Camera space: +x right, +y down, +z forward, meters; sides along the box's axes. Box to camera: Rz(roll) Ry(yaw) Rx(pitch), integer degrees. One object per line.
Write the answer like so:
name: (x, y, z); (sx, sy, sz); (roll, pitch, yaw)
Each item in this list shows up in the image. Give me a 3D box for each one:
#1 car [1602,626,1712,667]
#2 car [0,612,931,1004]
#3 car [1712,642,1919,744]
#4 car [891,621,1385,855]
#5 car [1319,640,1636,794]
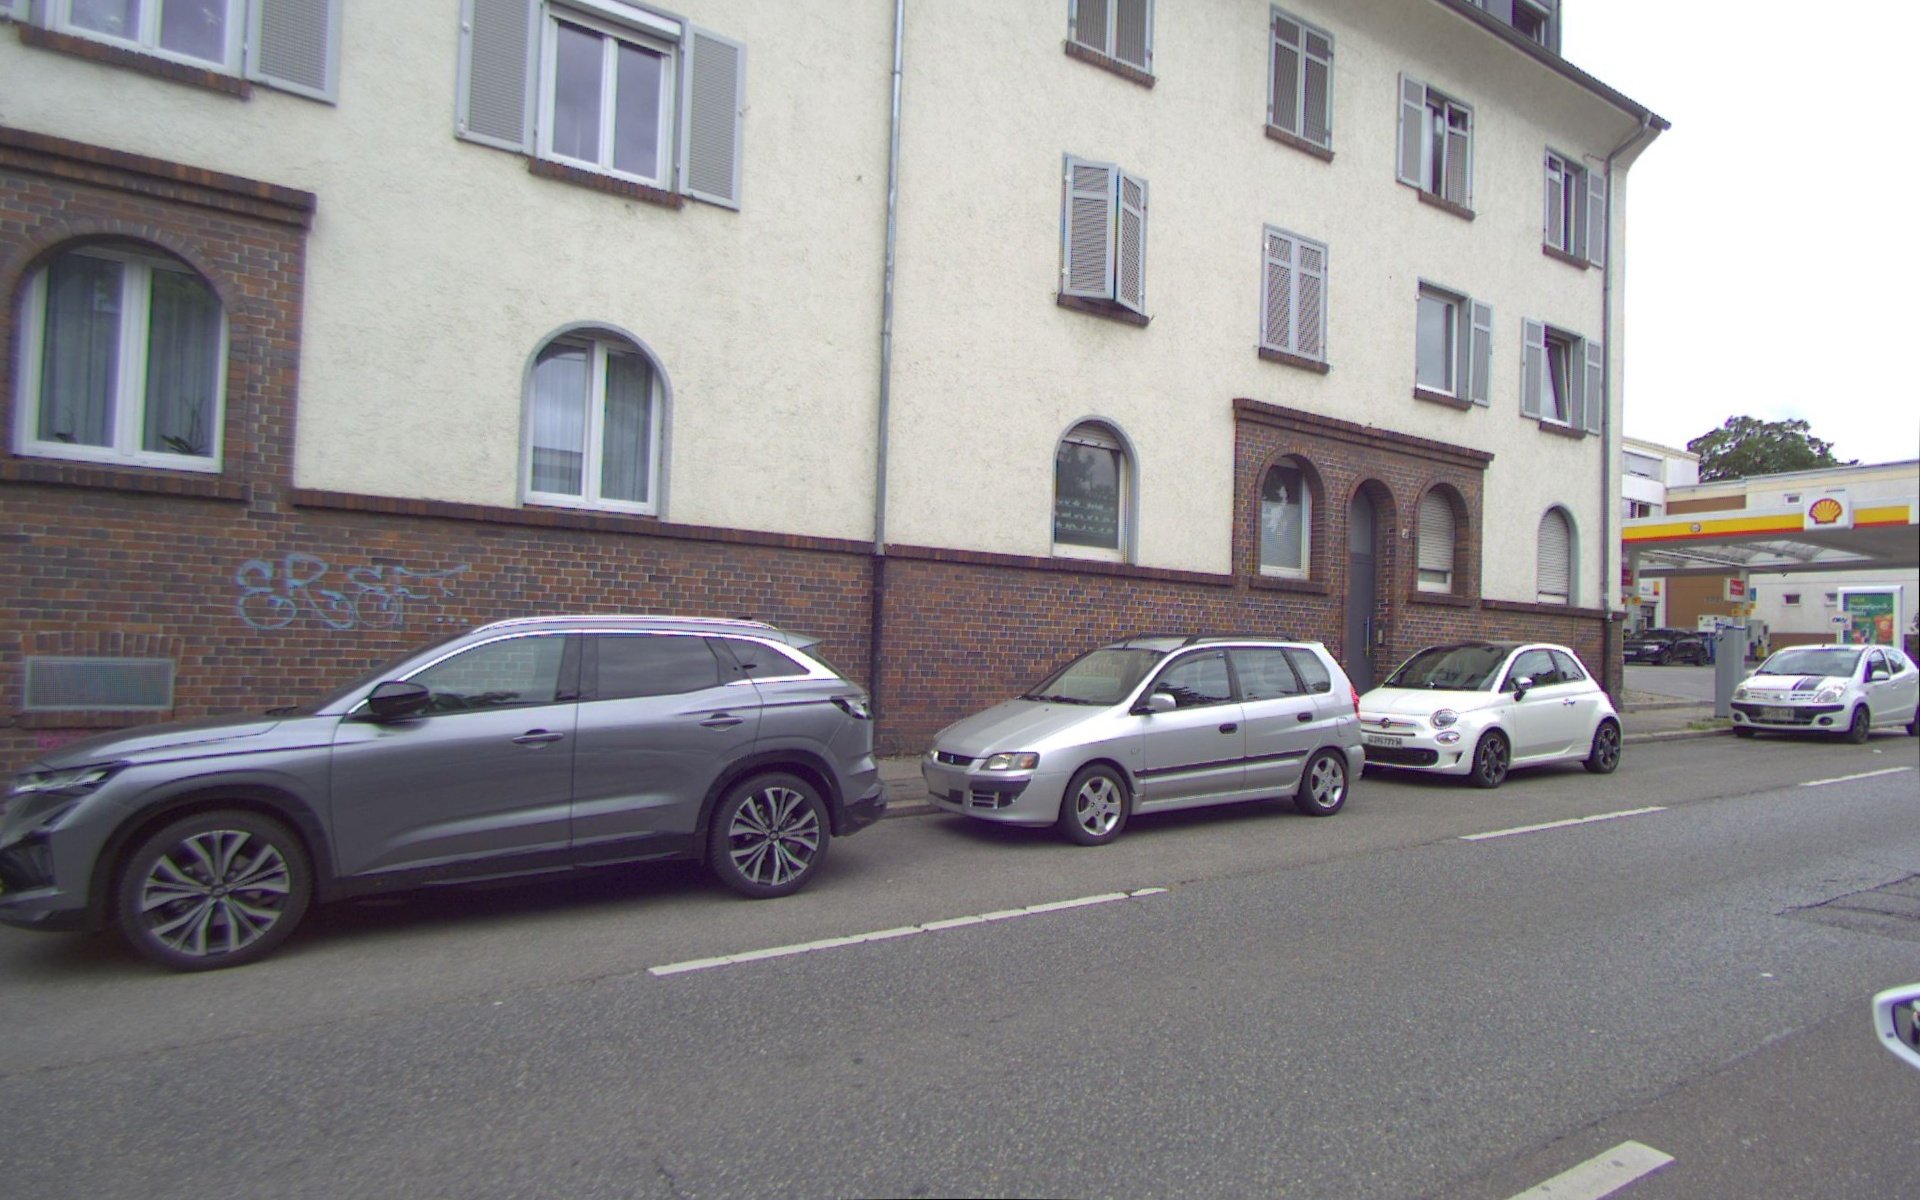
car: (26.507, 1.746, 38.181); (4.365, 1.439, 1.789); (1, -1, -30)
car: (-2.527, 0.920, 5.929); (4.445, 1.620, 1.720); (1, -2, -28)
car: (13.831, 1.402, 16.047); (3.621, 1.444, 1.612); (1, -2, -30)
car: (1.588, 1.036, 8.602); (4.035, 1.578, 1.719); (2, -4, -31)
car: (5.893, 1.205, 11.365); (3.562, 1.494, 1.540); (1, -2, -31)
